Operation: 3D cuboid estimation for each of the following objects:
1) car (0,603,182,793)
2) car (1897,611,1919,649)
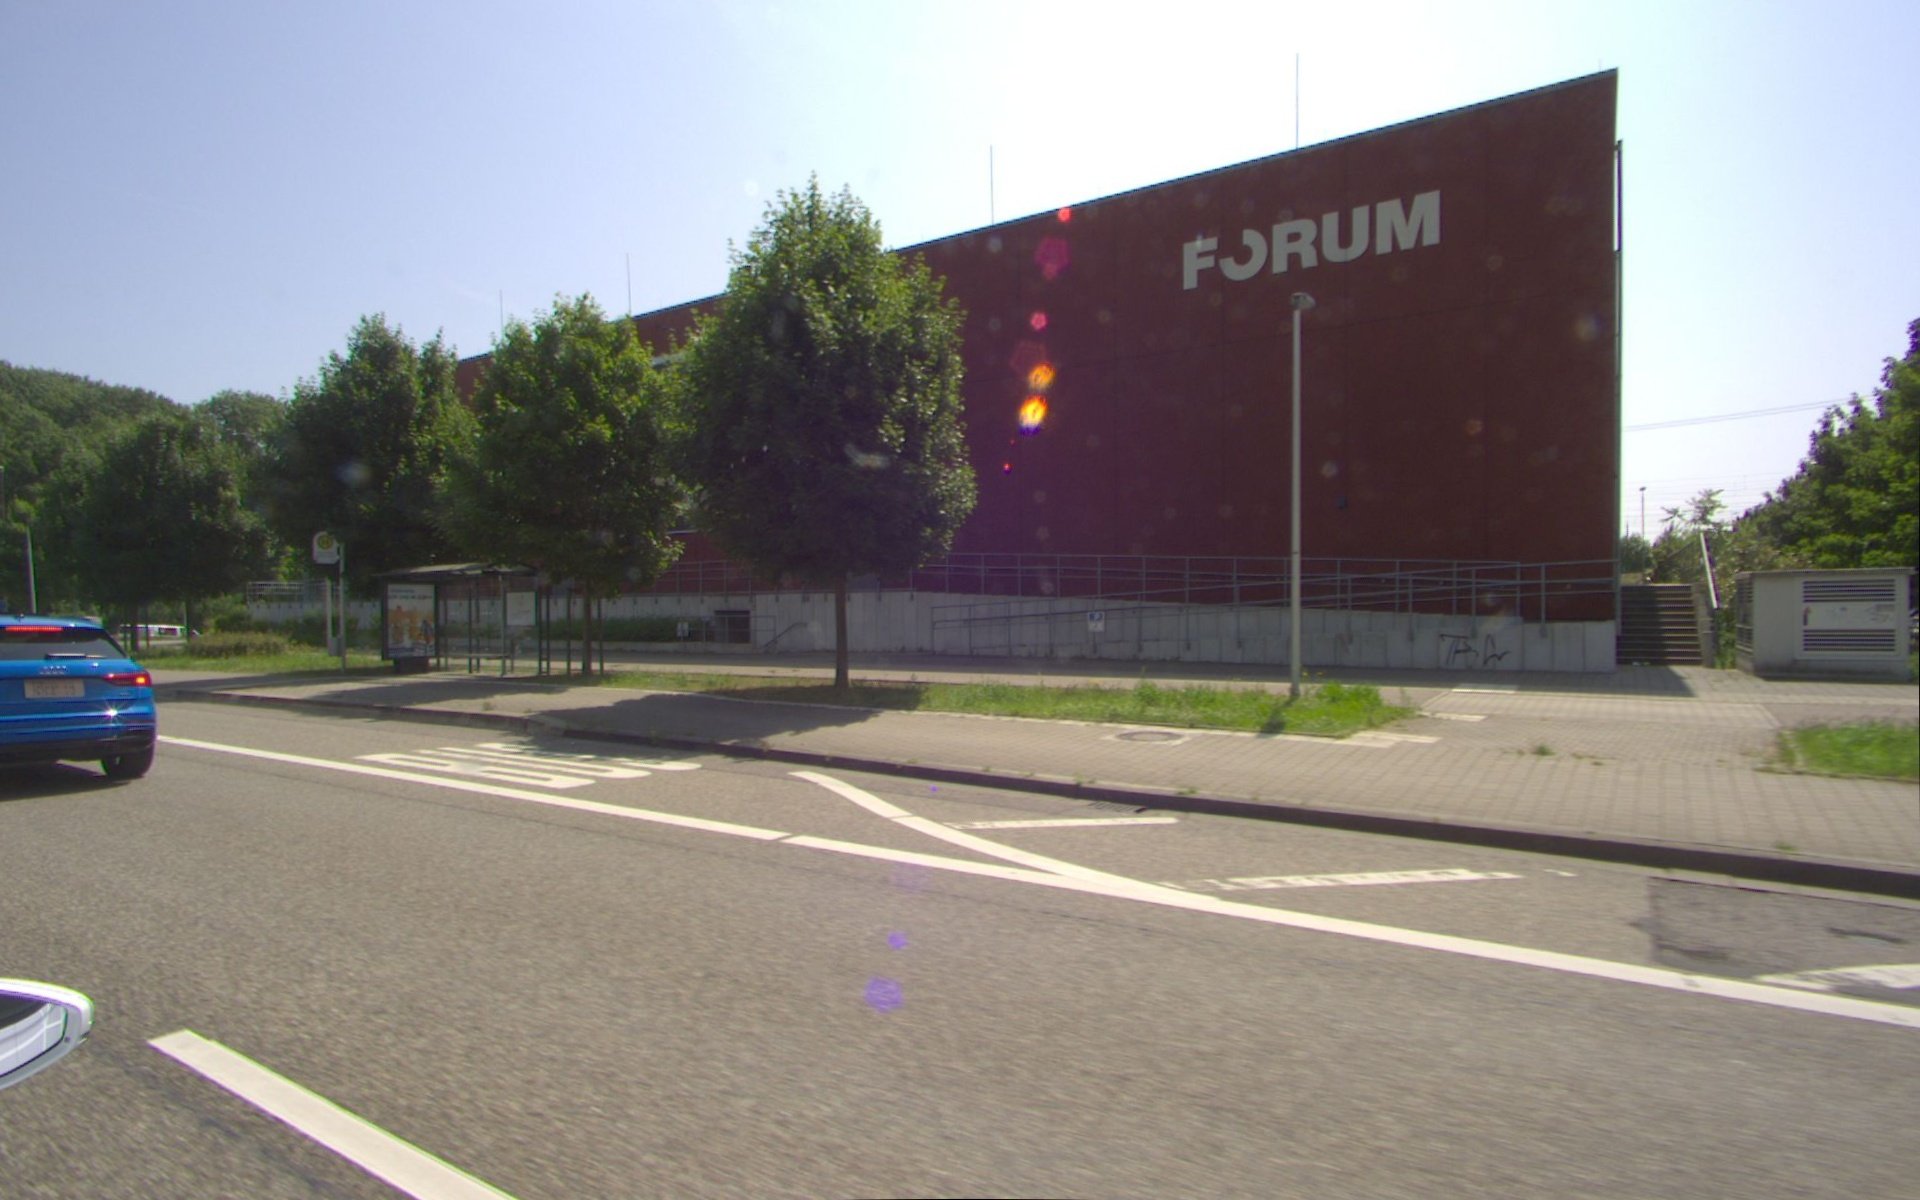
[{"bbox_3d":[-9.778,0.855,10.020,4.337,1.616,1.834,0,-1,33],"label":"car"},{"bbox_3d":[38.984,1.157,38.584,3.943,1.478,1.703,0,0,32],"label":"car"}]
